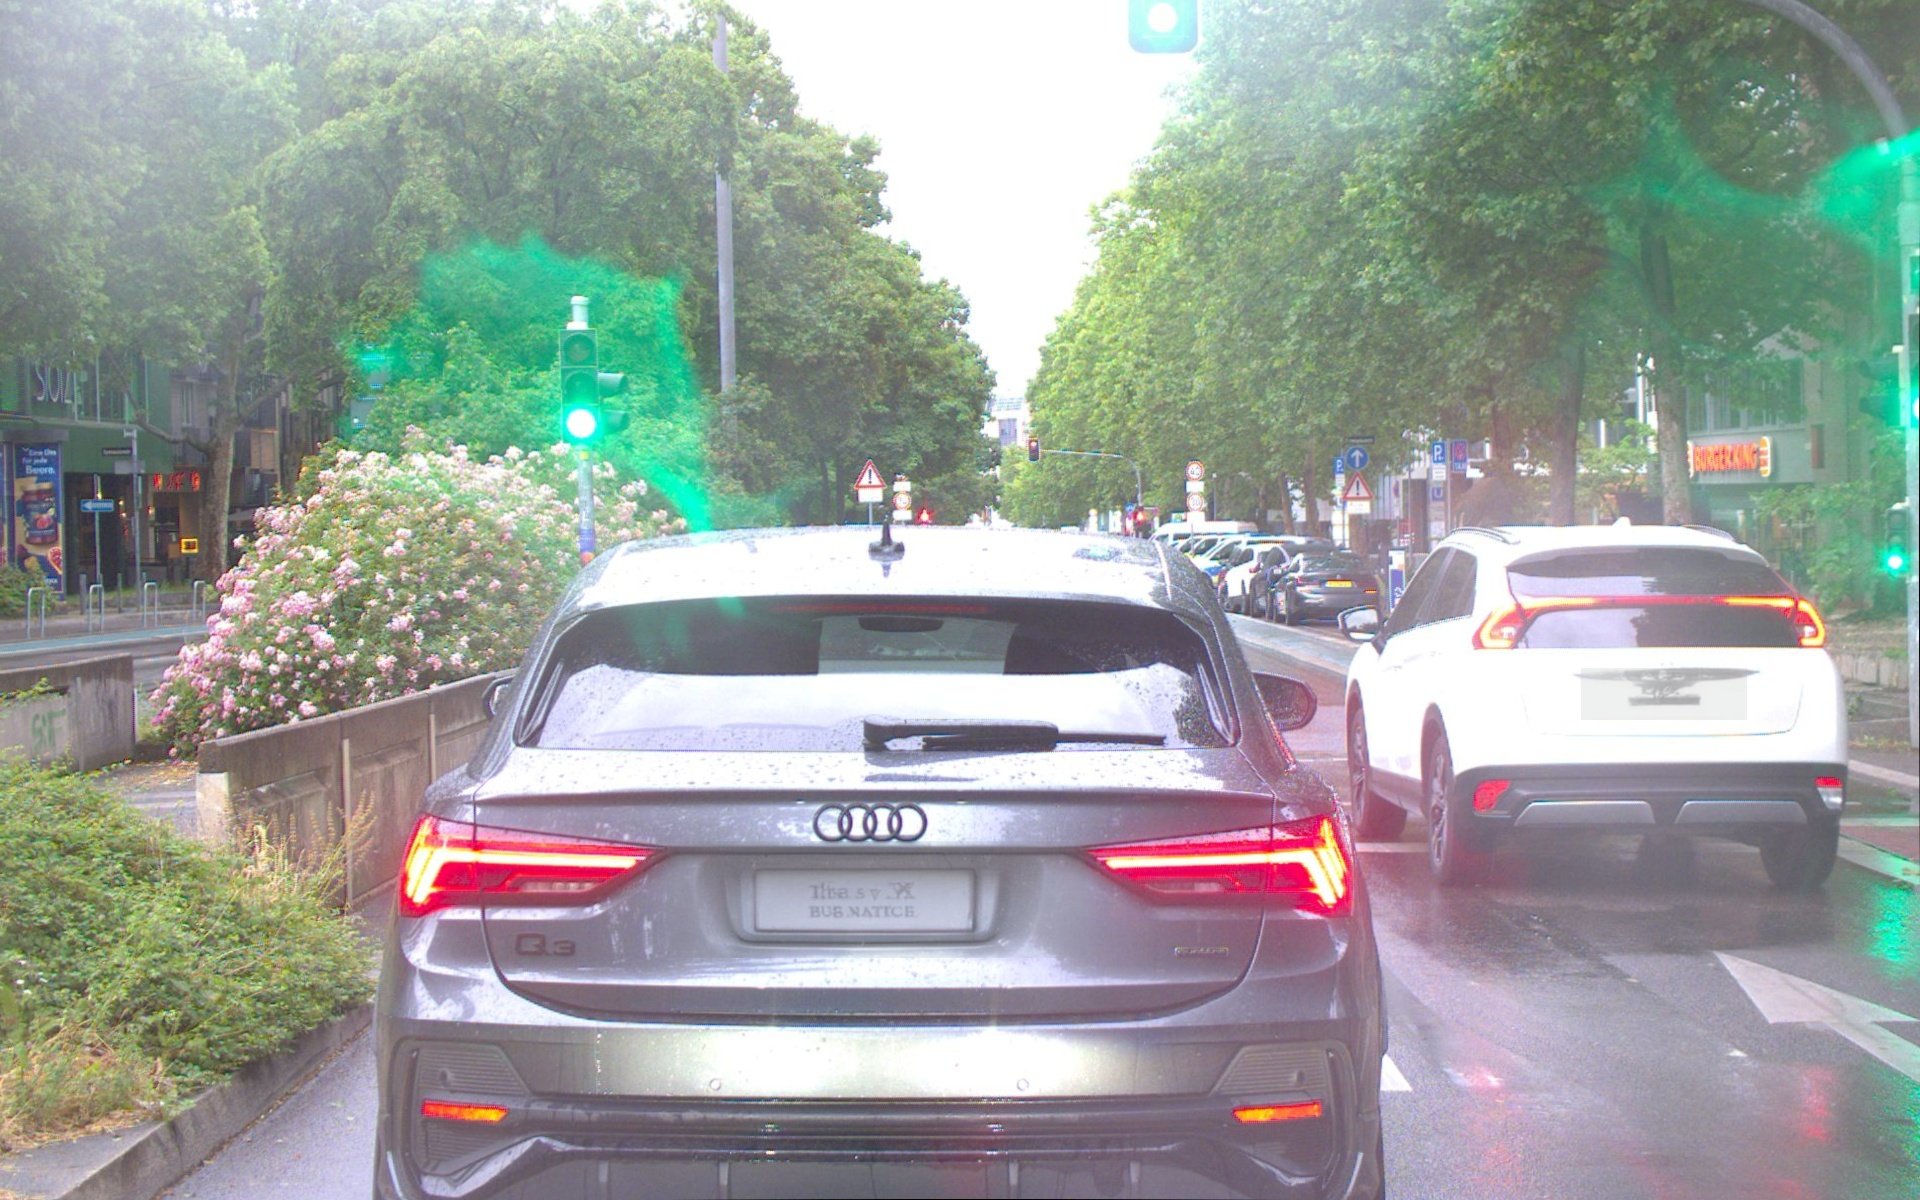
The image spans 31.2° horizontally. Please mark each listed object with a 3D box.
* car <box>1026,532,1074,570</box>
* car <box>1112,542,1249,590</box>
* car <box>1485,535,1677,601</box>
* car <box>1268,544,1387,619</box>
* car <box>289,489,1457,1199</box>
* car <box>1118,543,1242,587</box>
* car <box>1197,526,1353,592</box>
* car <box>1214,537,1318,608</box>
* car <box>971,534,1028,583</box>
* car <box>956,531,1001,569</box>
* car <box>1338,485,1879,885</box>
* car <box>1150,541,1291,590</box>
[{"bbox_3d":[3.950,-2.145,151.066,1.993,1.645,4.000,1,0,1],"label":"car"},{"bbox_3d":[8.163,-1.263,127.443,4.646,1.700,1.997,1,0,28],"label":"car"},{"bbox_3d":[10.621,-0.549,58.796,2.889,1.071,1.453,1,0,32],"label":"car"},{"bbox_3d":[7.267,-0.379,68.385,1.873,1.416,4.611,1,1,0],"label":"car"},{"bbox_3d":[-0.162,0.593,7.452,1.849,1.596,4.000,0,1,-1],"label":"car"},{"bbox_3d":[8.992,-1.435,140.607,4.646,1.700,1.997,1,0,28],"label":"car"},{"bbox_3d":[9.981,-1.309,109.105,4.602,2.007,1.964,1,0,39],"label":"car"},{"bbox_3d":[7.020,-0.641,79.196,1.727,1.566,4.074,1,0,-4],"label":"car"},{"bbox_3d":[1.419,-1.507,125.846,1.993,1.721,4.000,1,0,0],"label":"car"},{"bbox_3d":[0.787,-2.144,149.082,1.896,1.593,3.939,1,0,-1],"label":"car"},{"bbox_3d":[3.009,0.353,16.795,1.878,1.691,4.000,1,0,0],"label":"car"},{"bbox_3d":[9.390,-1.250,123.814,4.646,1.700,1.997,1,0,28],"label":"car"}]
